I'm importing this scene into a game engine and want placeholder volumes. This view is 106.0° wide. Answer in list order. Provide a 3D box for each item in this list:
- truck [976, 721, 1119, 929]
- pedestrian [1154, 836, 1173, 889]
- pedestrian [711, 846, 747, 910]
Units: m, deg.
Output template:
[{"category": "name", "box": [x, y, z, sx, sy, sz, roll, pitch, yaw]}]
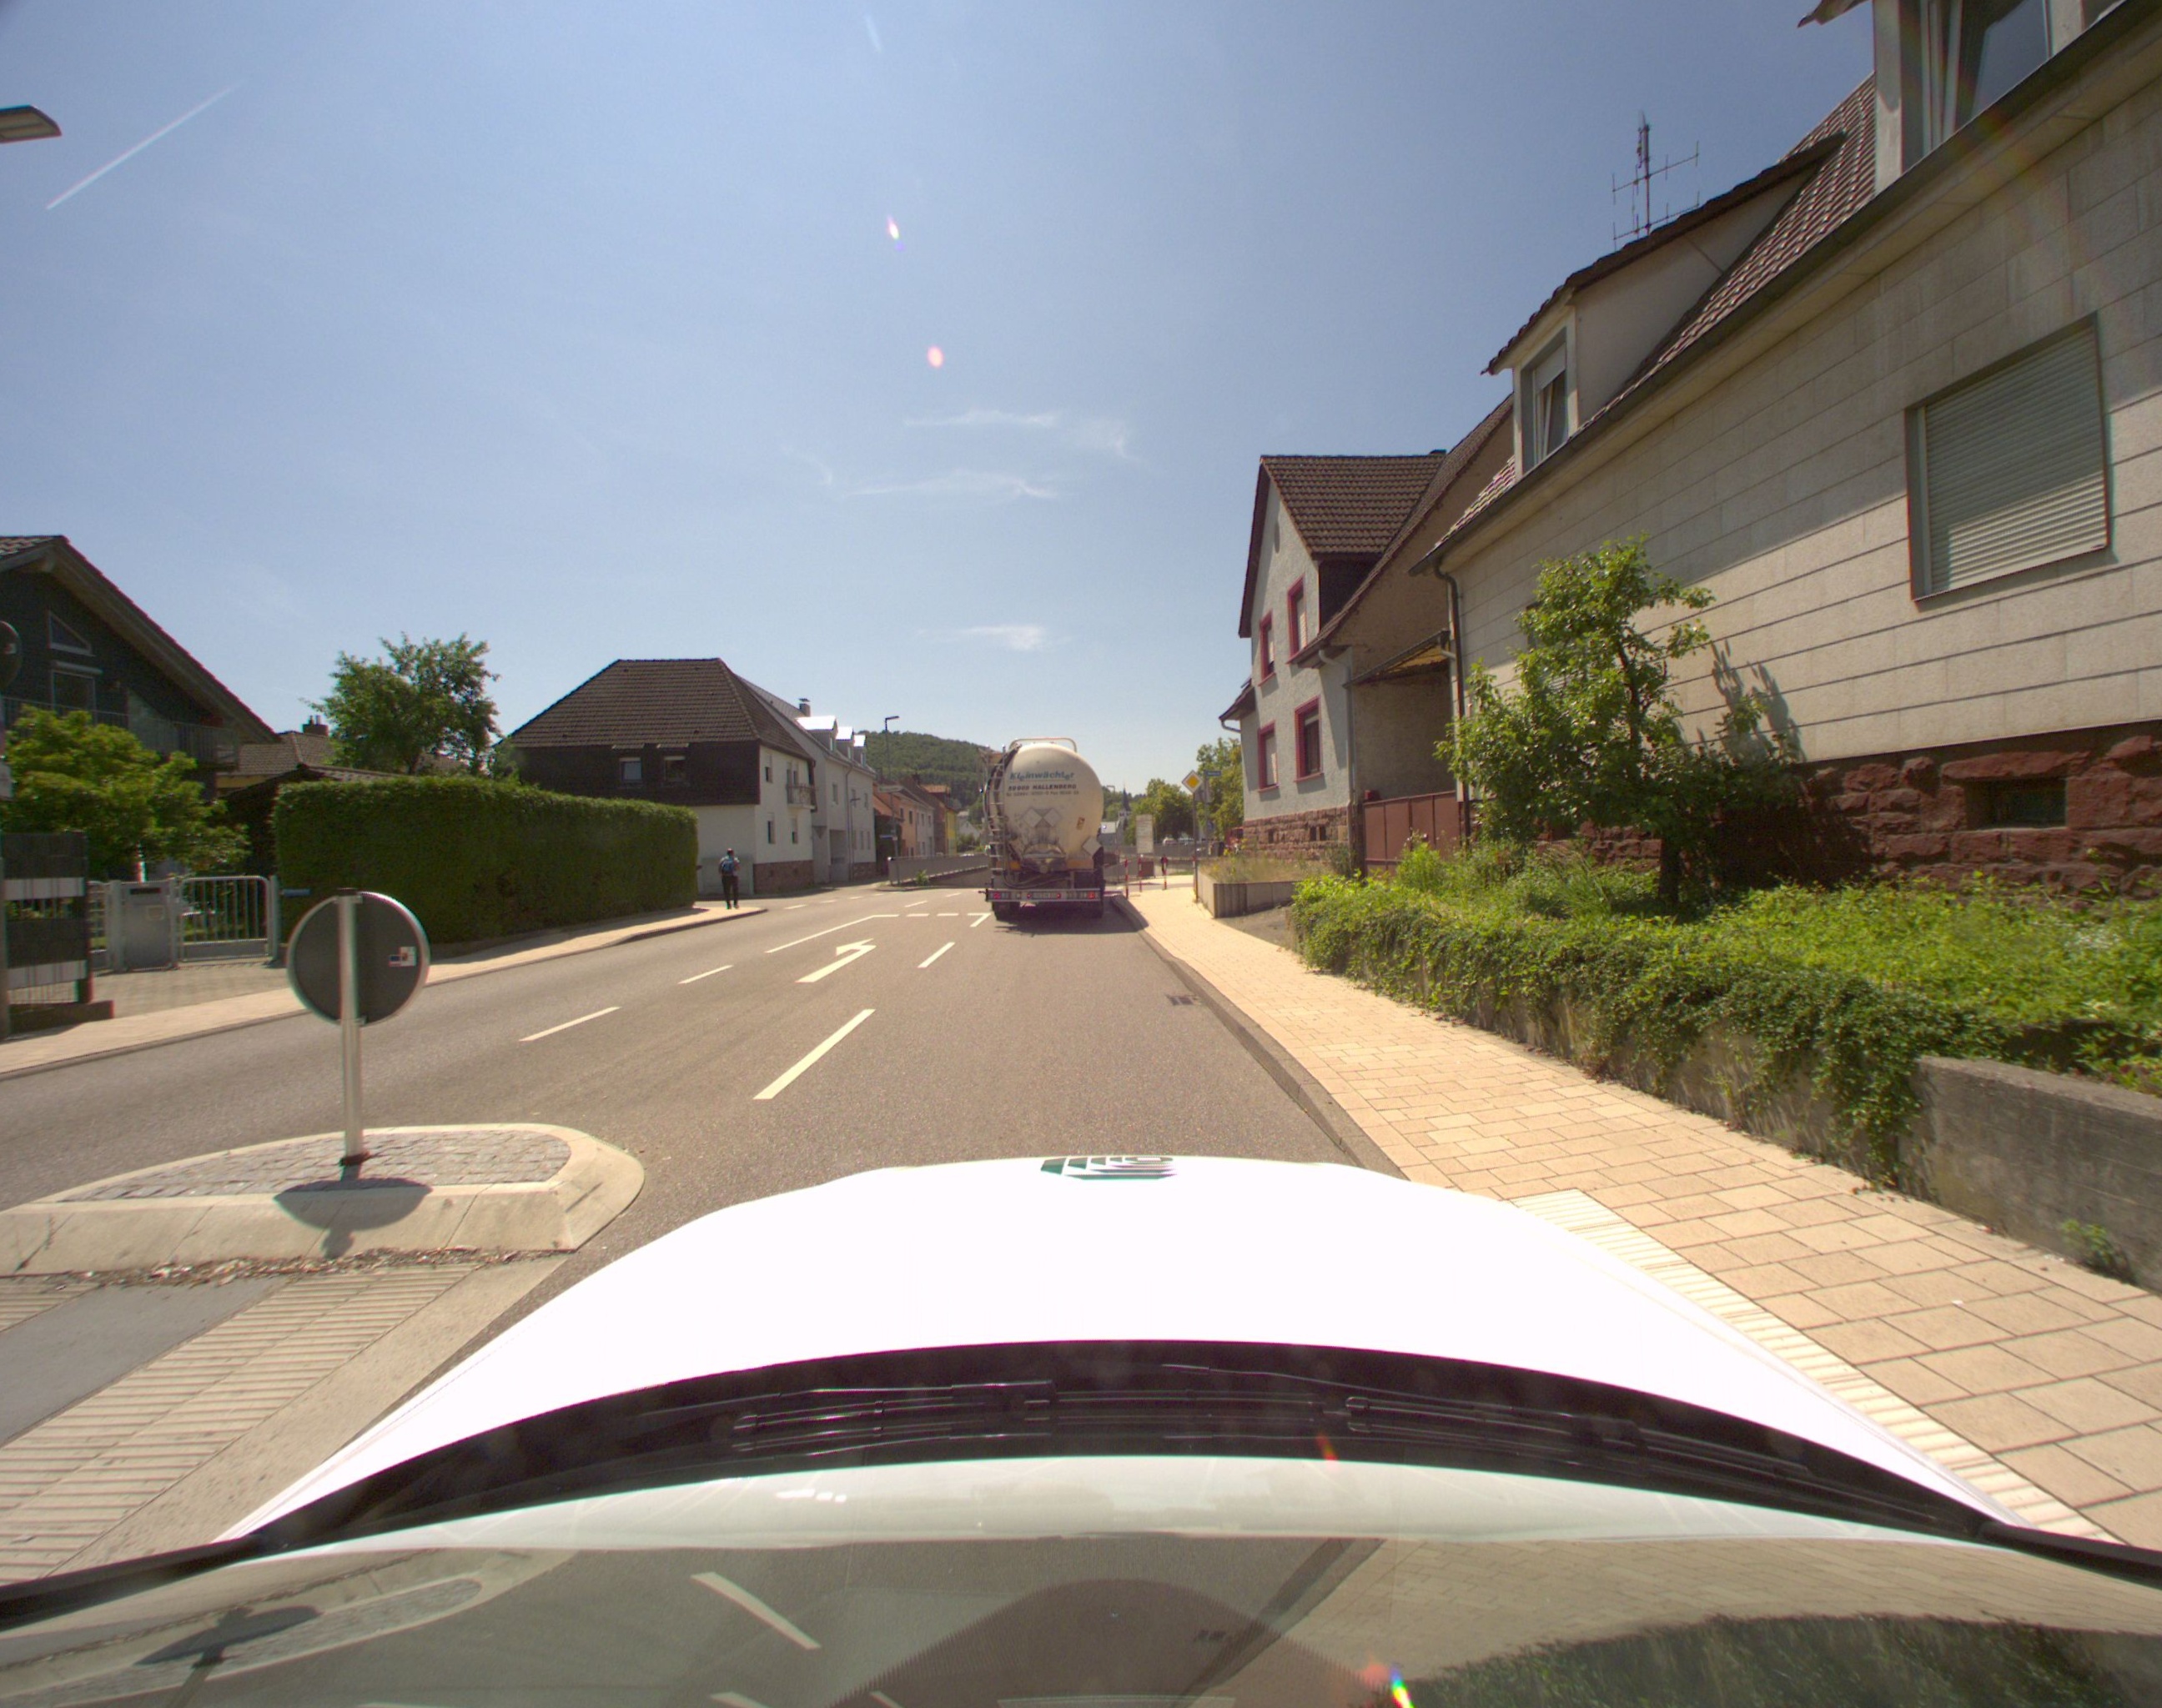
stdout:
[{"category": "truck", "box": [-0.929, -0.596, 21.495, 2.744, 4.056, 10.877, -1, 0, -3]}, {"category": "pedestrian", "box": [2.693, 0.276, 26.654, 0.568, 1.694, 0.721, 0, -1, 1]}, {"category": "pedestrian", "box": [-10.200, 0.686, 23.622, 0.711, 1.823, 0.896, 0, -1, -6]}]
